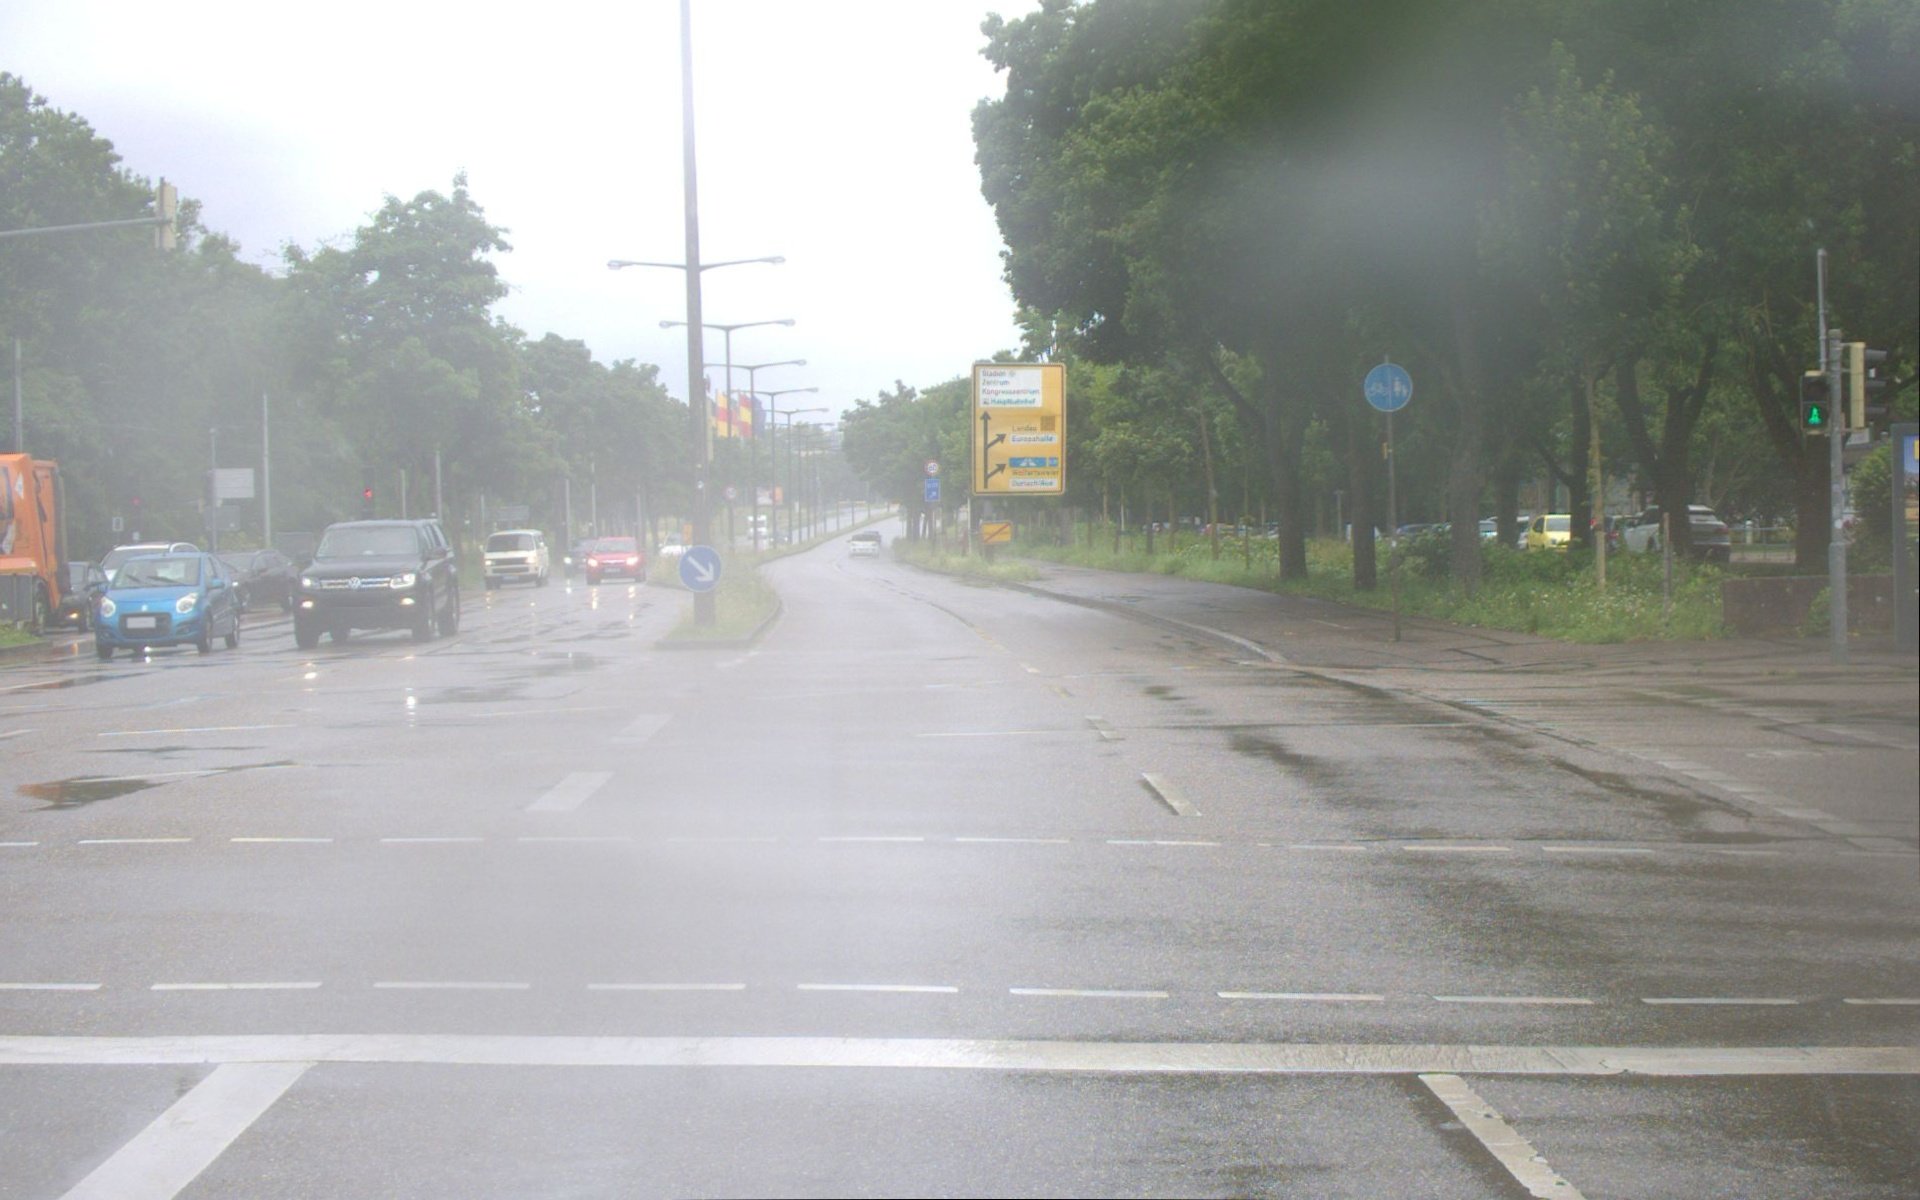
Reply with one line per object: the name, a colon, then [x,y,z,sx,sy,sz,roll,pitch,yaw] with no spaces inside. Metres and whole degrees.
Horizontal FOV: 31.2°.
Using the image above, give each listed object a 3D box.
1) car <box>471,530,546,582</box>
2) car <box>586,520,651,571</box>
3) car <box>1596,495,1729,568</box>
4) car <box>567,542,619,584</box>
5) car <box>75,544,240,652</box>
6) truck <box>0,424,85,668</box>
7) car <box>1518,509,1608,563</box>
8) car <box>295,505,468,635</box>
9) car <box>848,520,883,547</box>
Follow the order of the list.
car: [-14.671,-1.453,111.839,1.894,1.605,4.501,-1,1,-1]
car: [-11.178,-1.770,112.658,1.801,1.564,4.429,-3,1,-2]
car: [17.415,-1.697,85.492,1.993,1.711,4.879,-2,1,-4]
car: [-15.321,-1.570,143.706,1.707,1.636,4.331,-3,1,-1]
car: [-11.662,-0.054,50.178,1.641,1.422,4.001,-3,1,-4]
truck: [-18.064,-0.959,59.606,3.384,4.153,10.407,1,1,-2]
car: [17.337,-1.828,98.972,1.637,1.481,4.073,1,1,-4]
car: [-8.537,-0.485,51.113,1.805,1.767,5.090,-2,1,-2]
car: [-5.330,-3.762,193.679,1.907,1.509,4.000,-1,1,-1]
